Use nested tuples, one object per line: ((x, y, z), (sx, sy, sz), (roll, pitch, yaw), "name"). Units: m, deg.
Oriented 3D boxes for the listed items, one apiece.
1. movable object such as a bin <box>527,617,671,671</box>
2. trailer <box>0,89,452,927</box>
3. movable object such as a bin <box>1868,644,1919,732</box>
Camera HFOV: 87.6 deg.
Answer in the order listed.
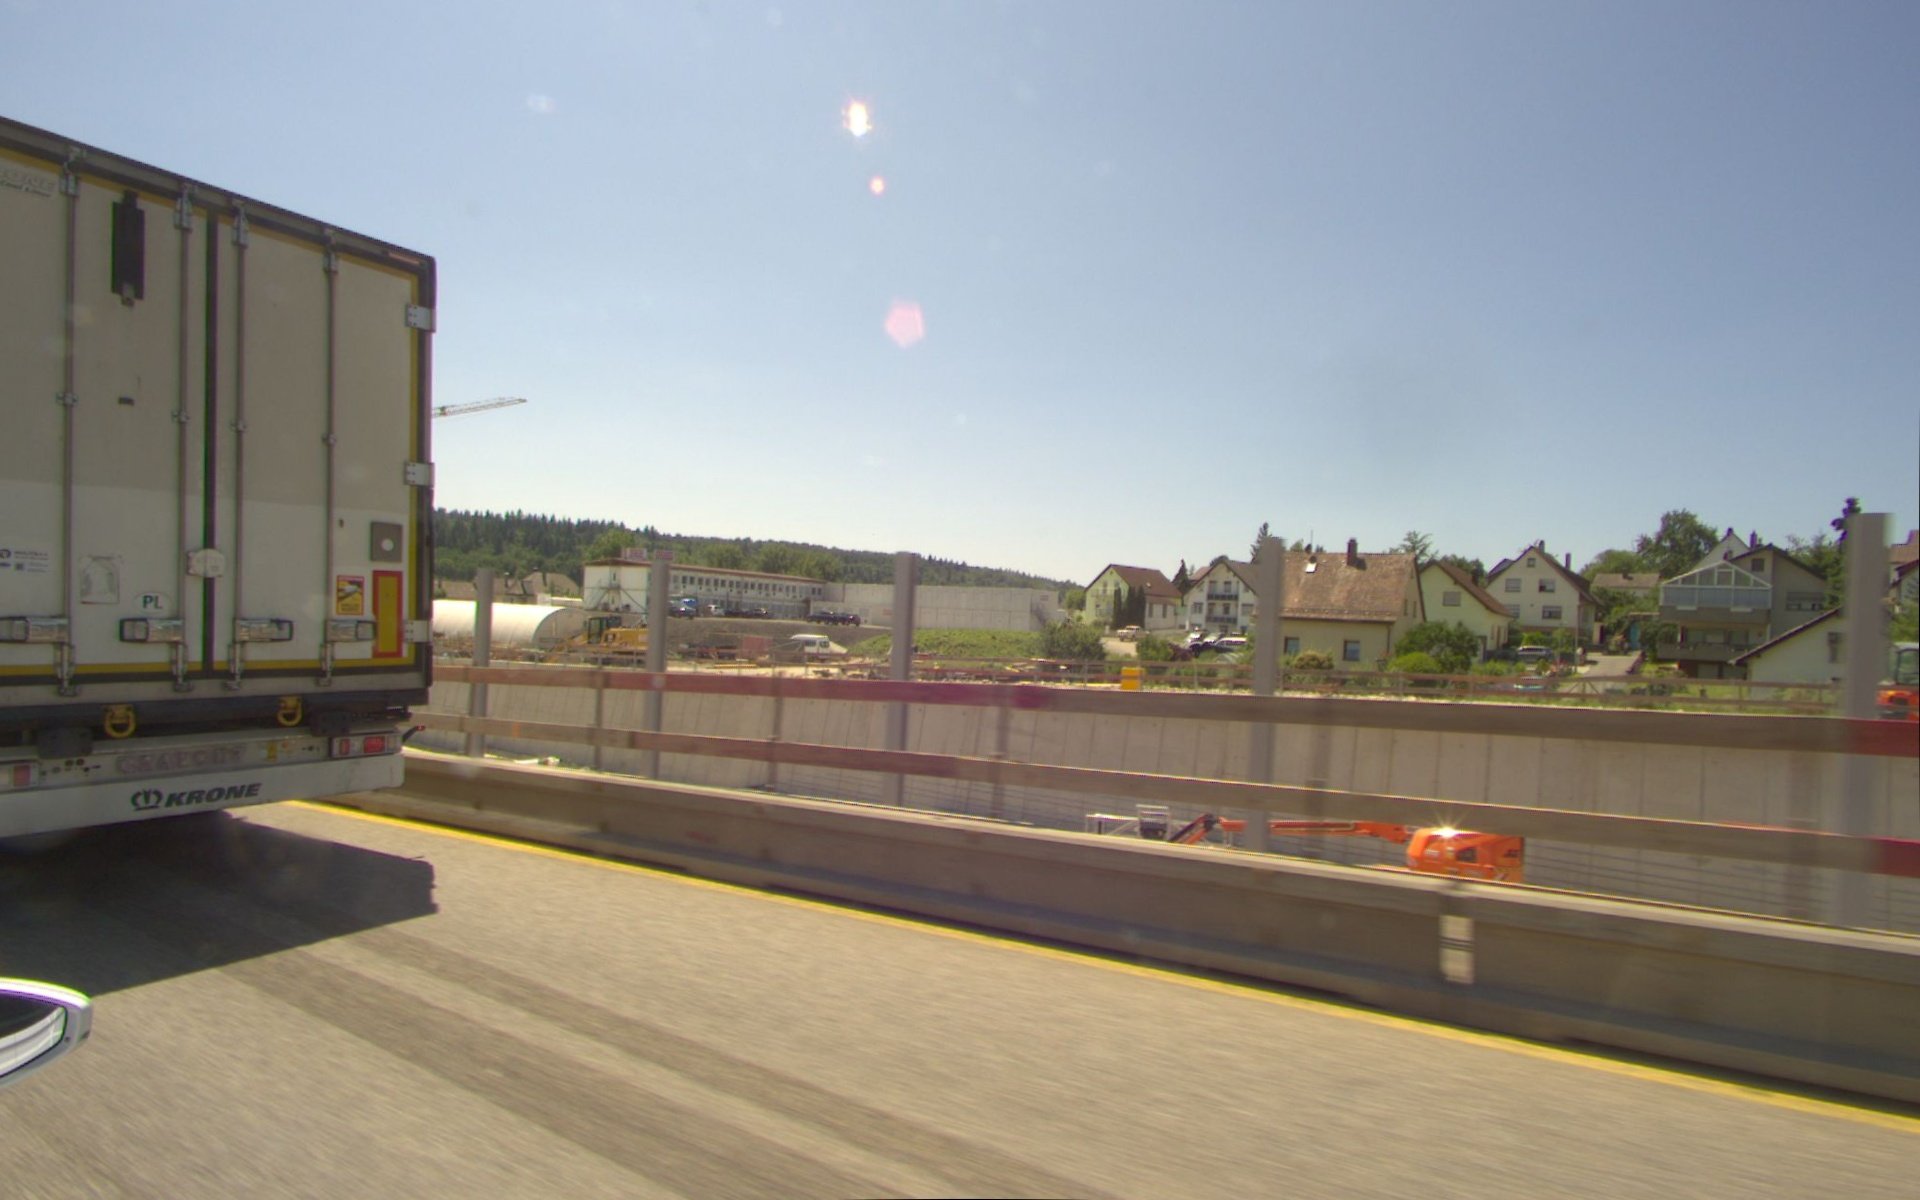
((-21.197, 2.496, 58.512), (9.347, 2.946, 2.882), (-1, -2, 34), "movable object such as a bin")
((-10.054, -0.338, 9.477), (13.918, 4.110, 2.796), (-1, -2, 33), "trailer")
((26.751, 2.329, 26.240), (4.094, 2.267, 1.990), (0, -2, 34), "movable object such as a bin")
